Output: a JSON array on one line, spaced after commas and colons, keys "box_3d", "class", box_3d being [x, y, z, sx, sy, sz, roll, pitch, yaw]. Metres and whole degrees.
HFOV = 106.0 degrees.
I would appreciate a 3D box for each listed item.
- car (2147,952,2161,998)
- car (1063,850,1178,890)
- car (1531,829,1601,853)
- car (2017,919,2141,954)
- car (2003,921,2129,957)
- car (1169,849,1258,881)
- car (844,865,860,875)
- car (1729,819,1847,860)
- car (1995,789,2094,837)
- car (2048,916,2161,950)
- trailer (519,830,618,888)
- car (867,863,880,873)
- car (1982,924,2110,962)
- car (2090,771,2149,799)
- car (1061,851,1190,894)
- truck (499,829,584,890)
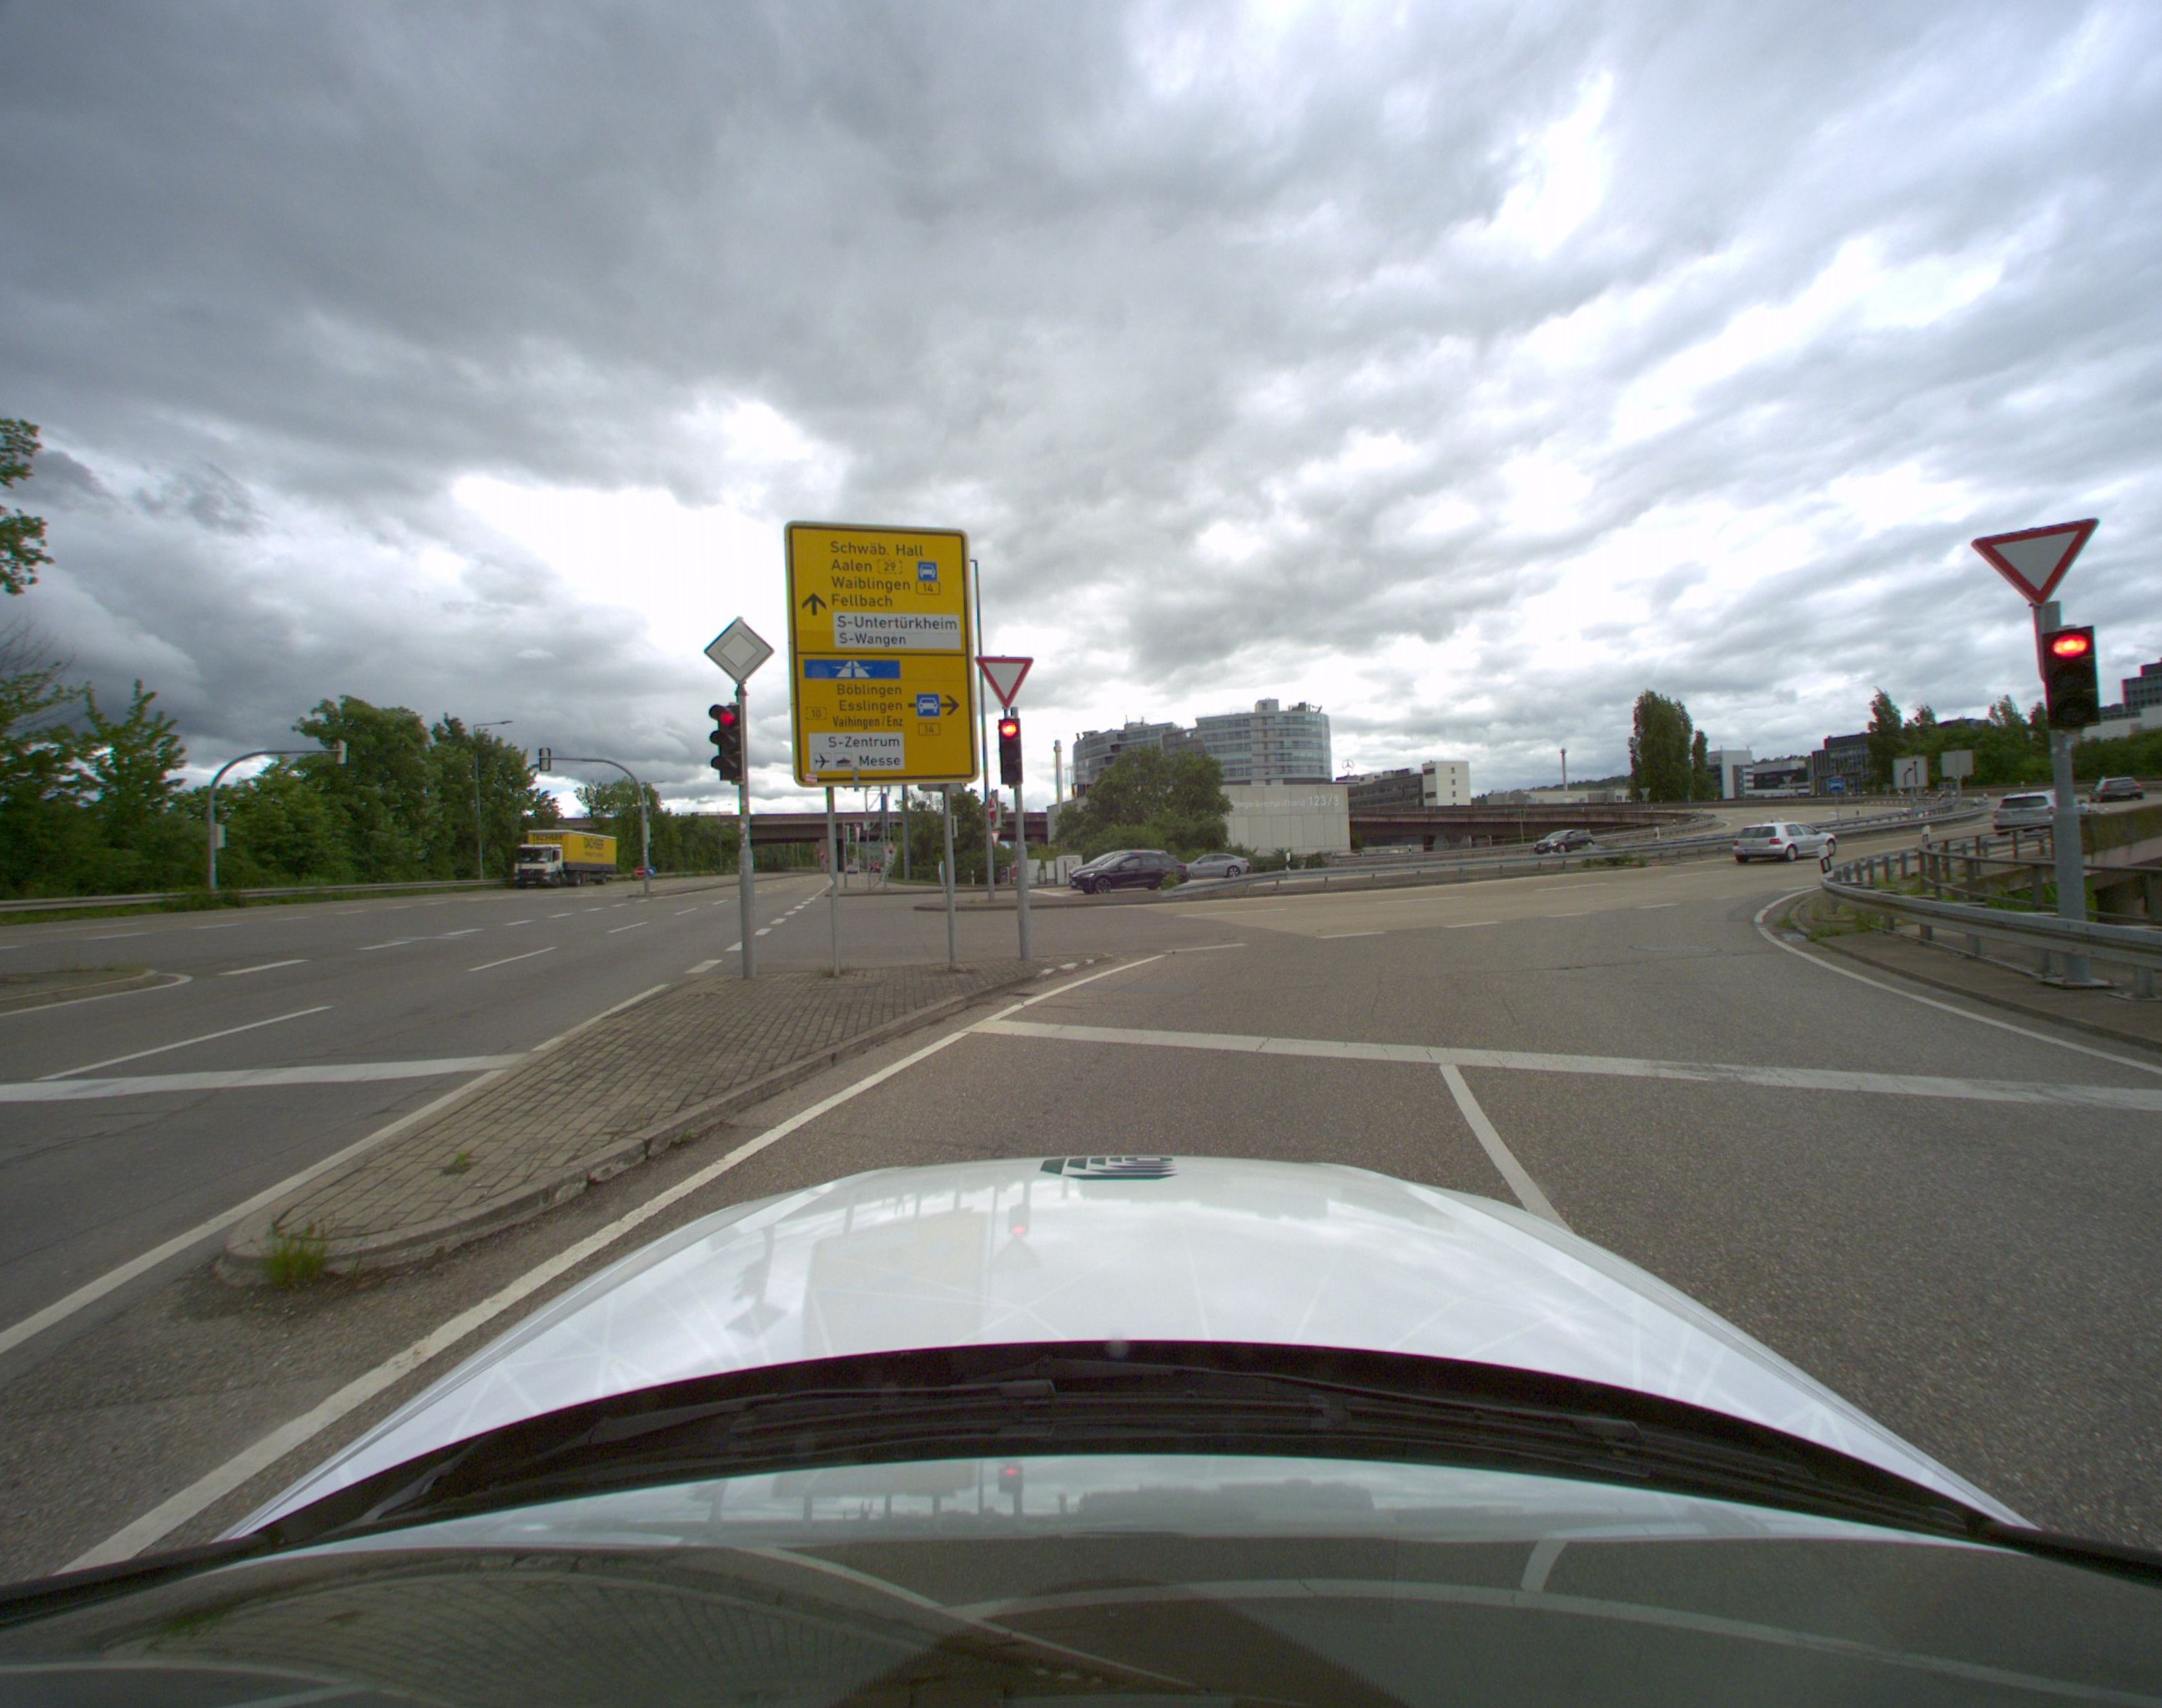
[{"box_3d": [41.827, 4.461, 30.302, 4.006, 1.534, 1.812, -3, 1, -25], "class": "car"}, {"box_3d": [1.717, 0.670, 35.830, 4.690, 1.571, 1.945, -1, 1, -17], "class": "car"}, {"box_3d": [30.974, -0.833, 52.025, 4.000, 1.421, 1.900, -2, 1, -25], "class": "car"}, {"box_3d": [52.193, 4.269, 42.654, 1.832, 1.354, 3.827, -3, 1, -29], "class": "car"}, {"box_3d": [50.307, 4.316, 41.674, 1.832, 1.354, 3.827, -3, 1, -29], "class": "car"}, {"box_3d": [7.503, 0.626, 46.394, 4.720, 1.662, 1.914, 2, 0, -3], "class": "car"}, {"box_3d": [-33.359, 2.328, 118.721, 1.995, 1.442, 4.092, 0, -2, -13], "class": "car"}, {"box_3d": [26.378, -0.535, 30.376, 4.070, 1.400, 1.717, -2, 0, -23], "class": "car"}, {"box_3d": [38.315, -1.612, 32.372, 4.569, 1.737, 1.713, -2, 0, -30], "class": "car"}, {"box_3d": [54.892, 4.185, 43.545, 1.832, 1.354, 3.827, -3, 1, -29], "class": "car"}, {"box_3d": [-39.552, 0.374, 63.446, 2.875, 4.084, 11.375, 1, 0, -13], "class": "trailer"}, {"box_3d": [-32.739, 2.289, 128.724, 1.997, 1.464, 4.089, 0, -2, -14], "class": "car"}, {"box_3d": [48.150, 4.404, 40.722, 1.832, 1.354, 3.827, -3, 1, -29], "class": "car"}, {"box_3d": [66.761, -4.400, 52.397, 1.708, 1.461, 4.270, -4, -1, 44], "class": "car"}, {"box_3d": [1.709, 0.686, 31.605, 4.617, 1.457, 1.945, -1, 1, -17], "class": "car"}, {"box_3d": [-38.269, 0.351, 58.080, 2.875, 4.084, 6.458, 1, 0, -13], "class": "truck"}]
